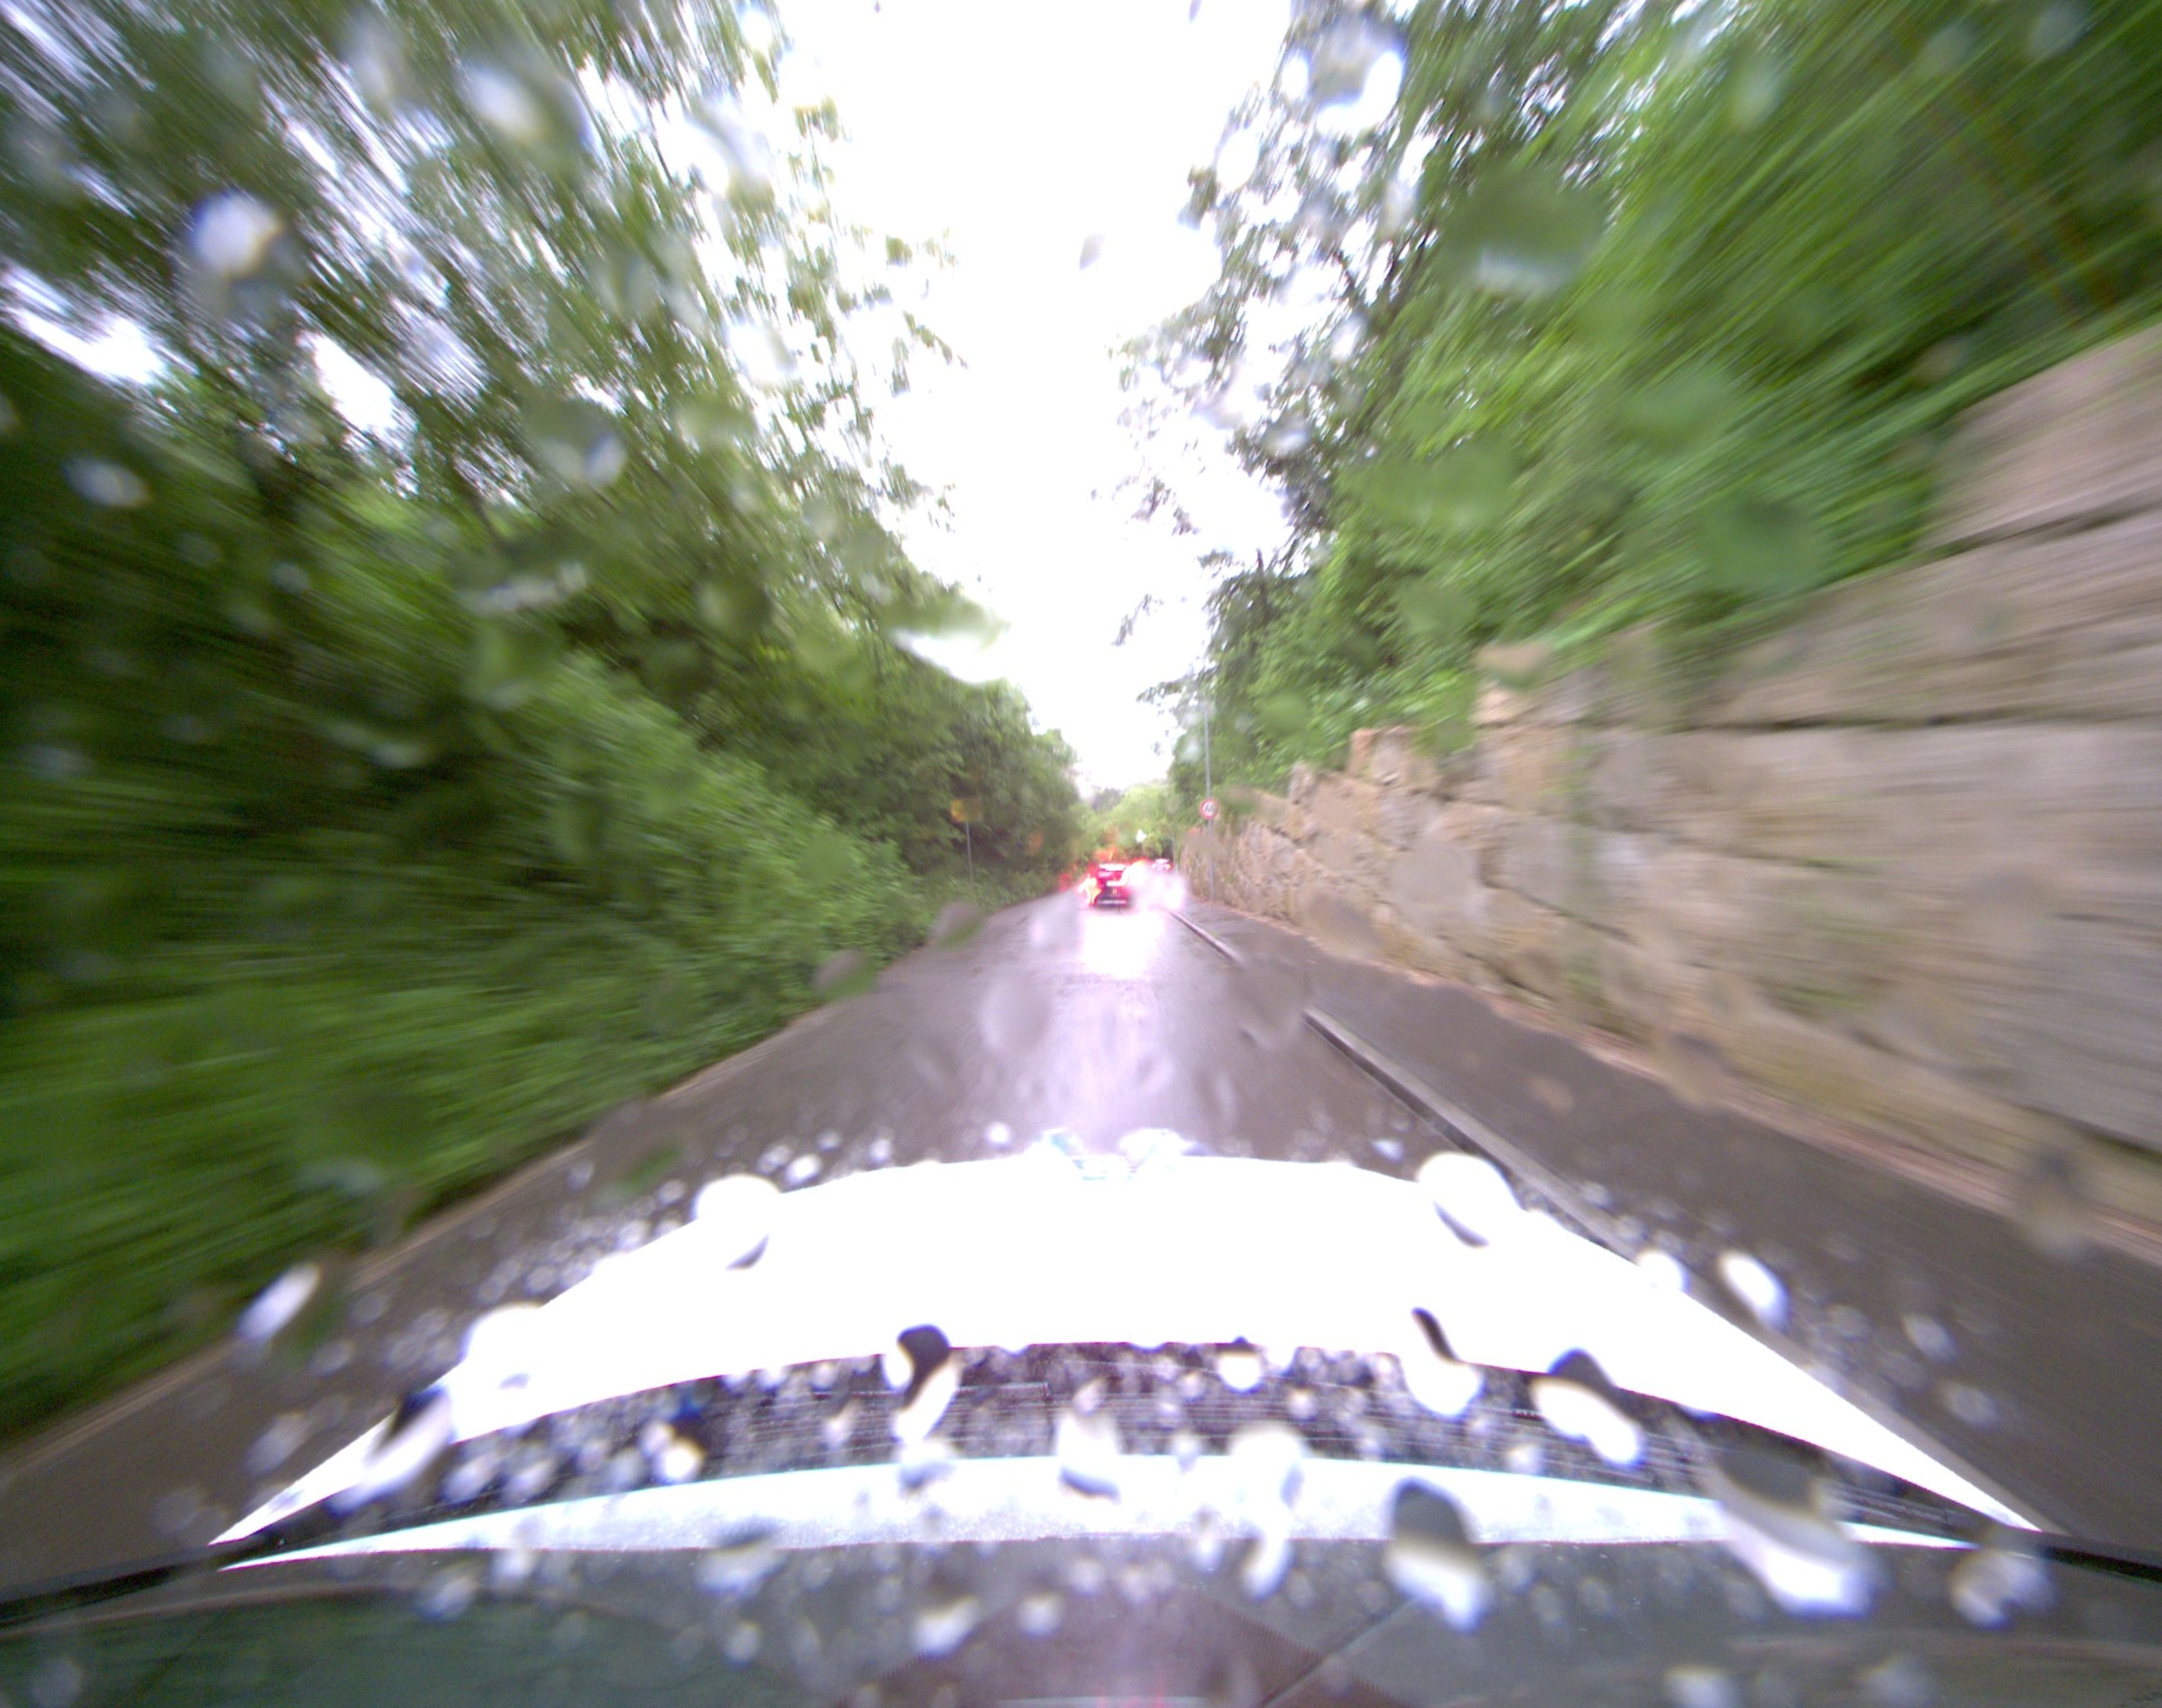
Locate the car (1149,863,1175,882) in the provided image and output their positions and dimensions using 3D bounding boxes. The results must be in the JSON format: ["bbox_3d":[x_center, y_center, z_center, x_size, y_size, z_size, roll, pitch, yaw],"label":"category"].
[{"bbox_3d":[7.714,1.753,77.366,1.849,1.743,4.016,0,-1,15],"label":"car"}]

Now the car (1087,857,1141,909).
[{"bbox_3d":[1.115,0.971,28.899,1.694,1.450,4.001,-2,3,0],"label":"car"}]
